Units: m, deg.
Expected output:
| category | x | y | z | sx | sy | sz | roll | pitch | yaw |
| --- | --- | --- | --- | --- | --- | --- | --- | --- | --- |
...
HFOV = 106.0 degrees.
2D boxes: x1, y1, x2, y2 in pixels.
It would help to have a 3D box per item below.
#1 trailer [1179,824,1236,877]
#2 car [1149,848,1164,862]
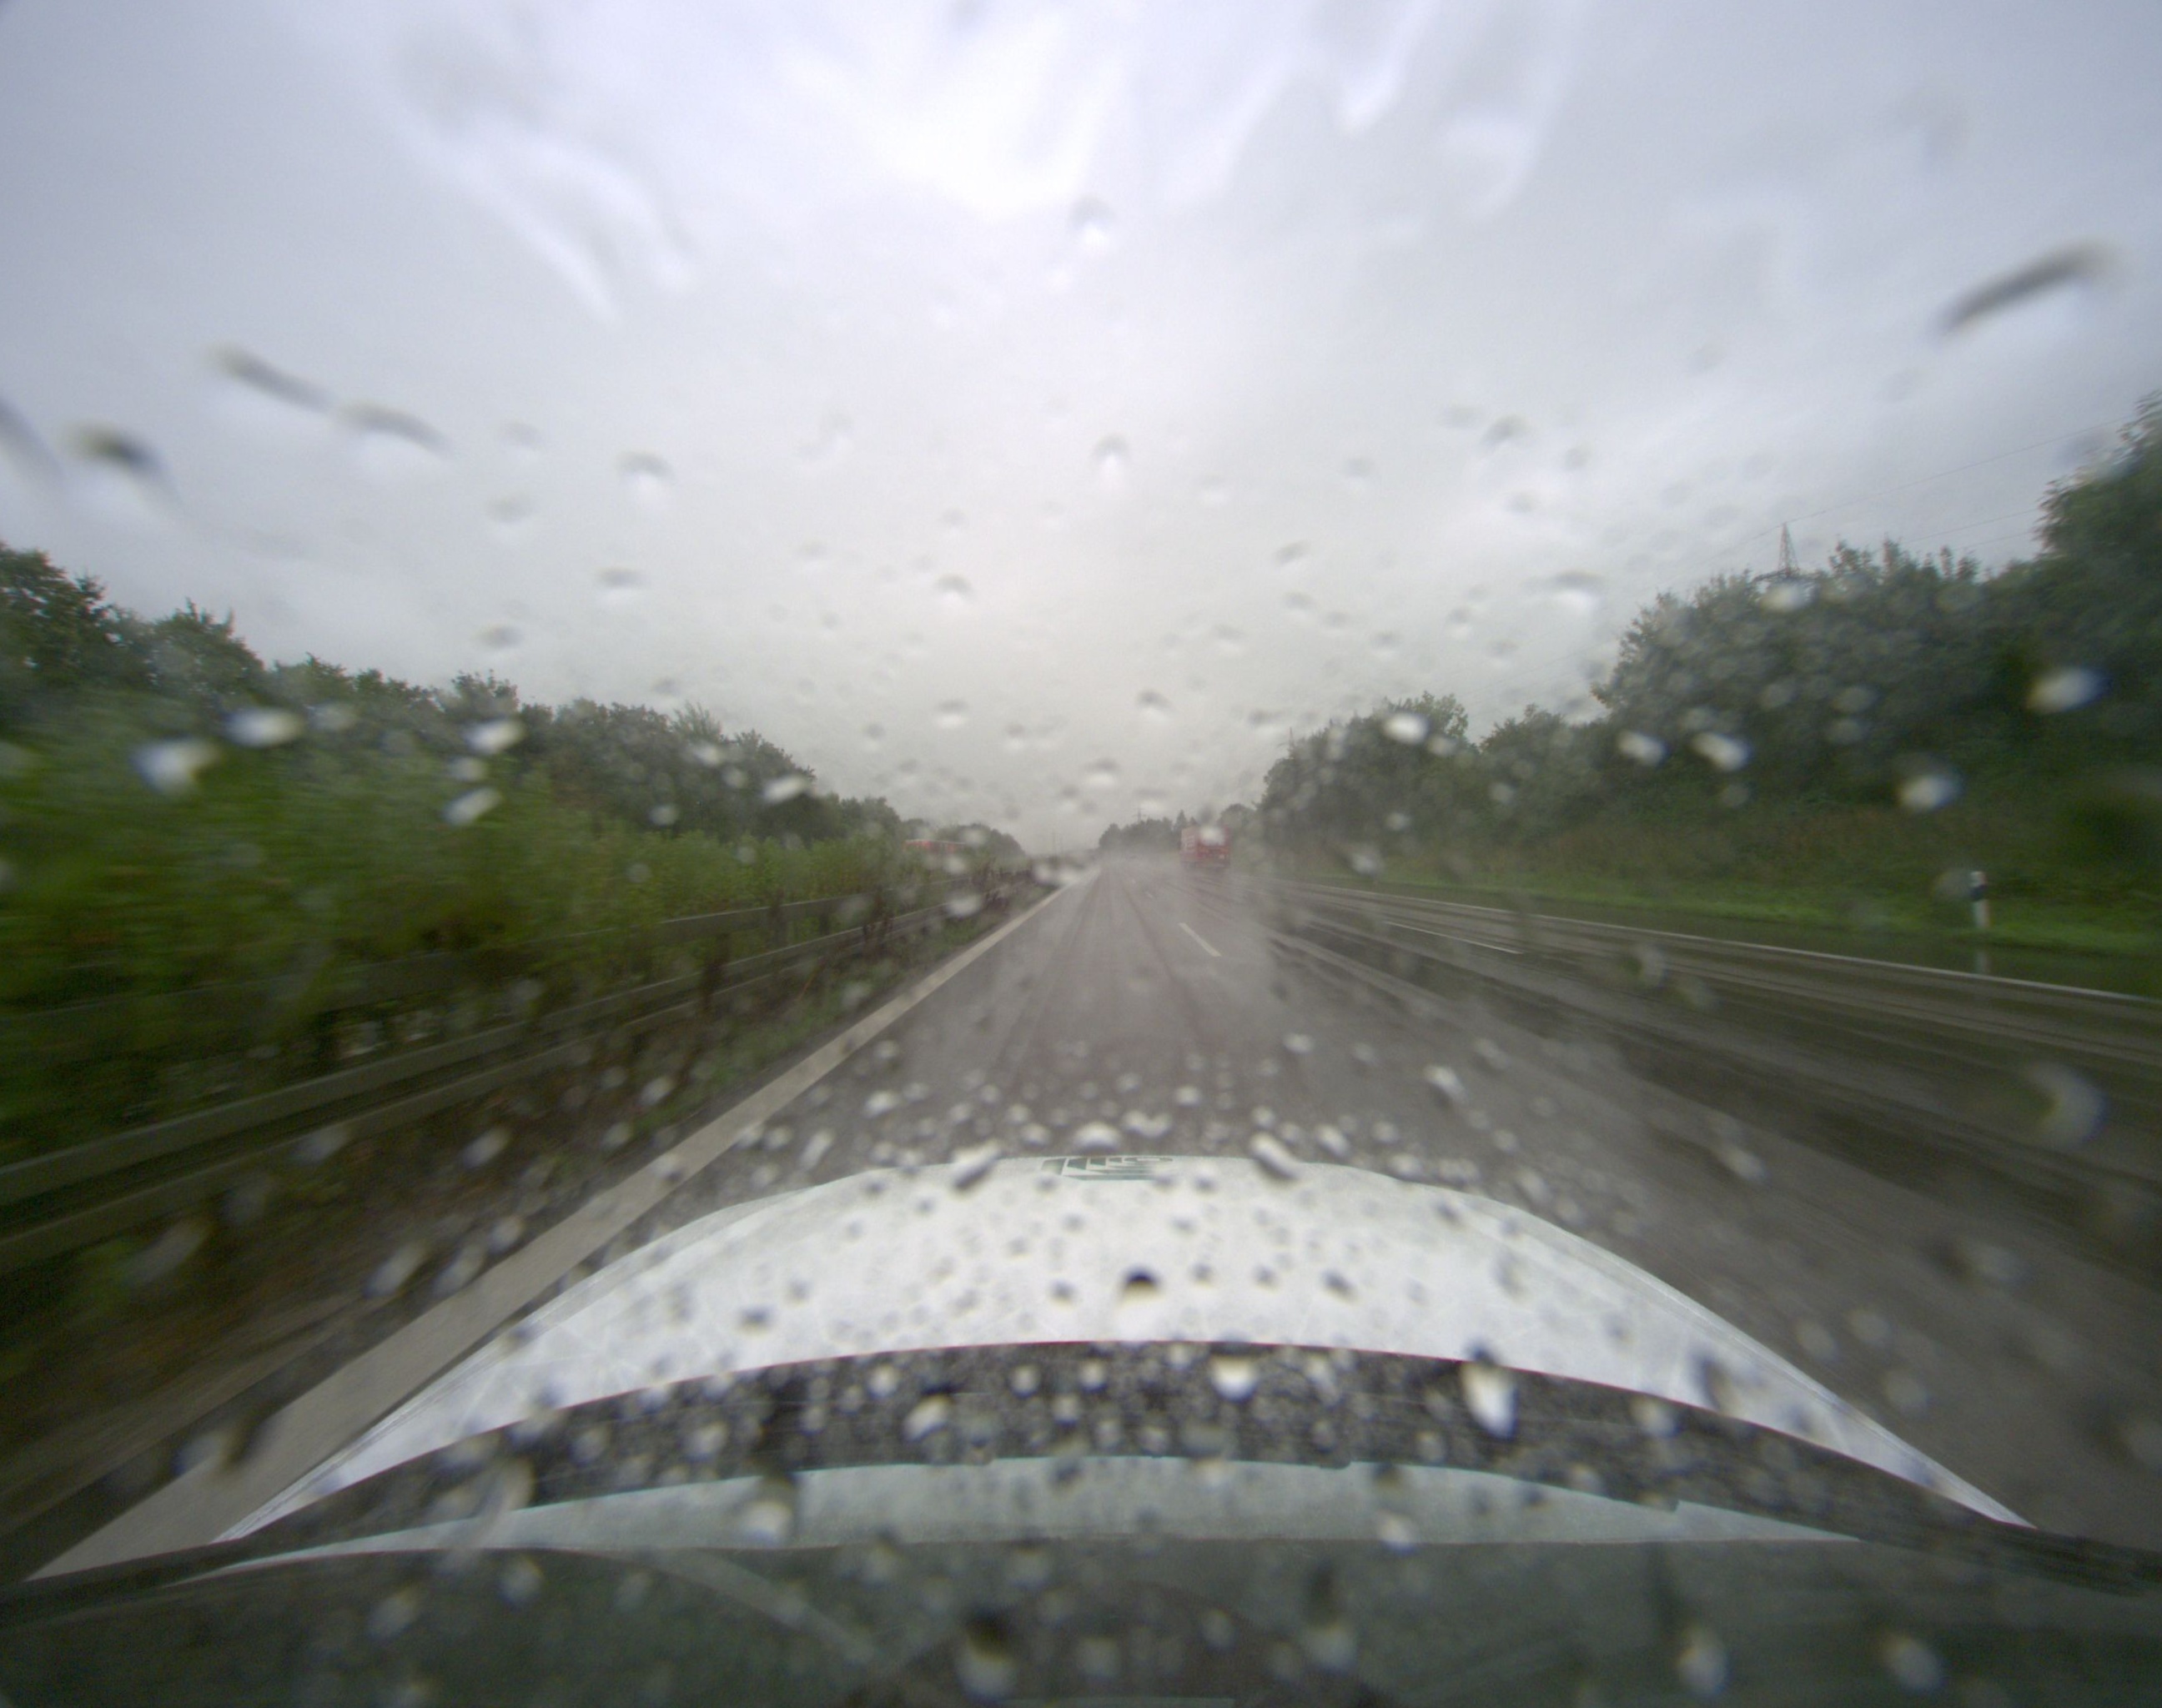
| category | x | y | z | sx | sy | sz | roll | pitch | yaw |
| --- | --- | --- | --- | --- | --- | --- | --- | --- | --- |
| trailer | 10.719 | -0.220 | 70.717 | 2.612 | 3.955 | 13.627 | -4 | 0 | 0 |
| car | 13.043 | 0.185 | 140.909 | 1.802 | 2.158 | 3.996 | -4 | 0 | -2 |
